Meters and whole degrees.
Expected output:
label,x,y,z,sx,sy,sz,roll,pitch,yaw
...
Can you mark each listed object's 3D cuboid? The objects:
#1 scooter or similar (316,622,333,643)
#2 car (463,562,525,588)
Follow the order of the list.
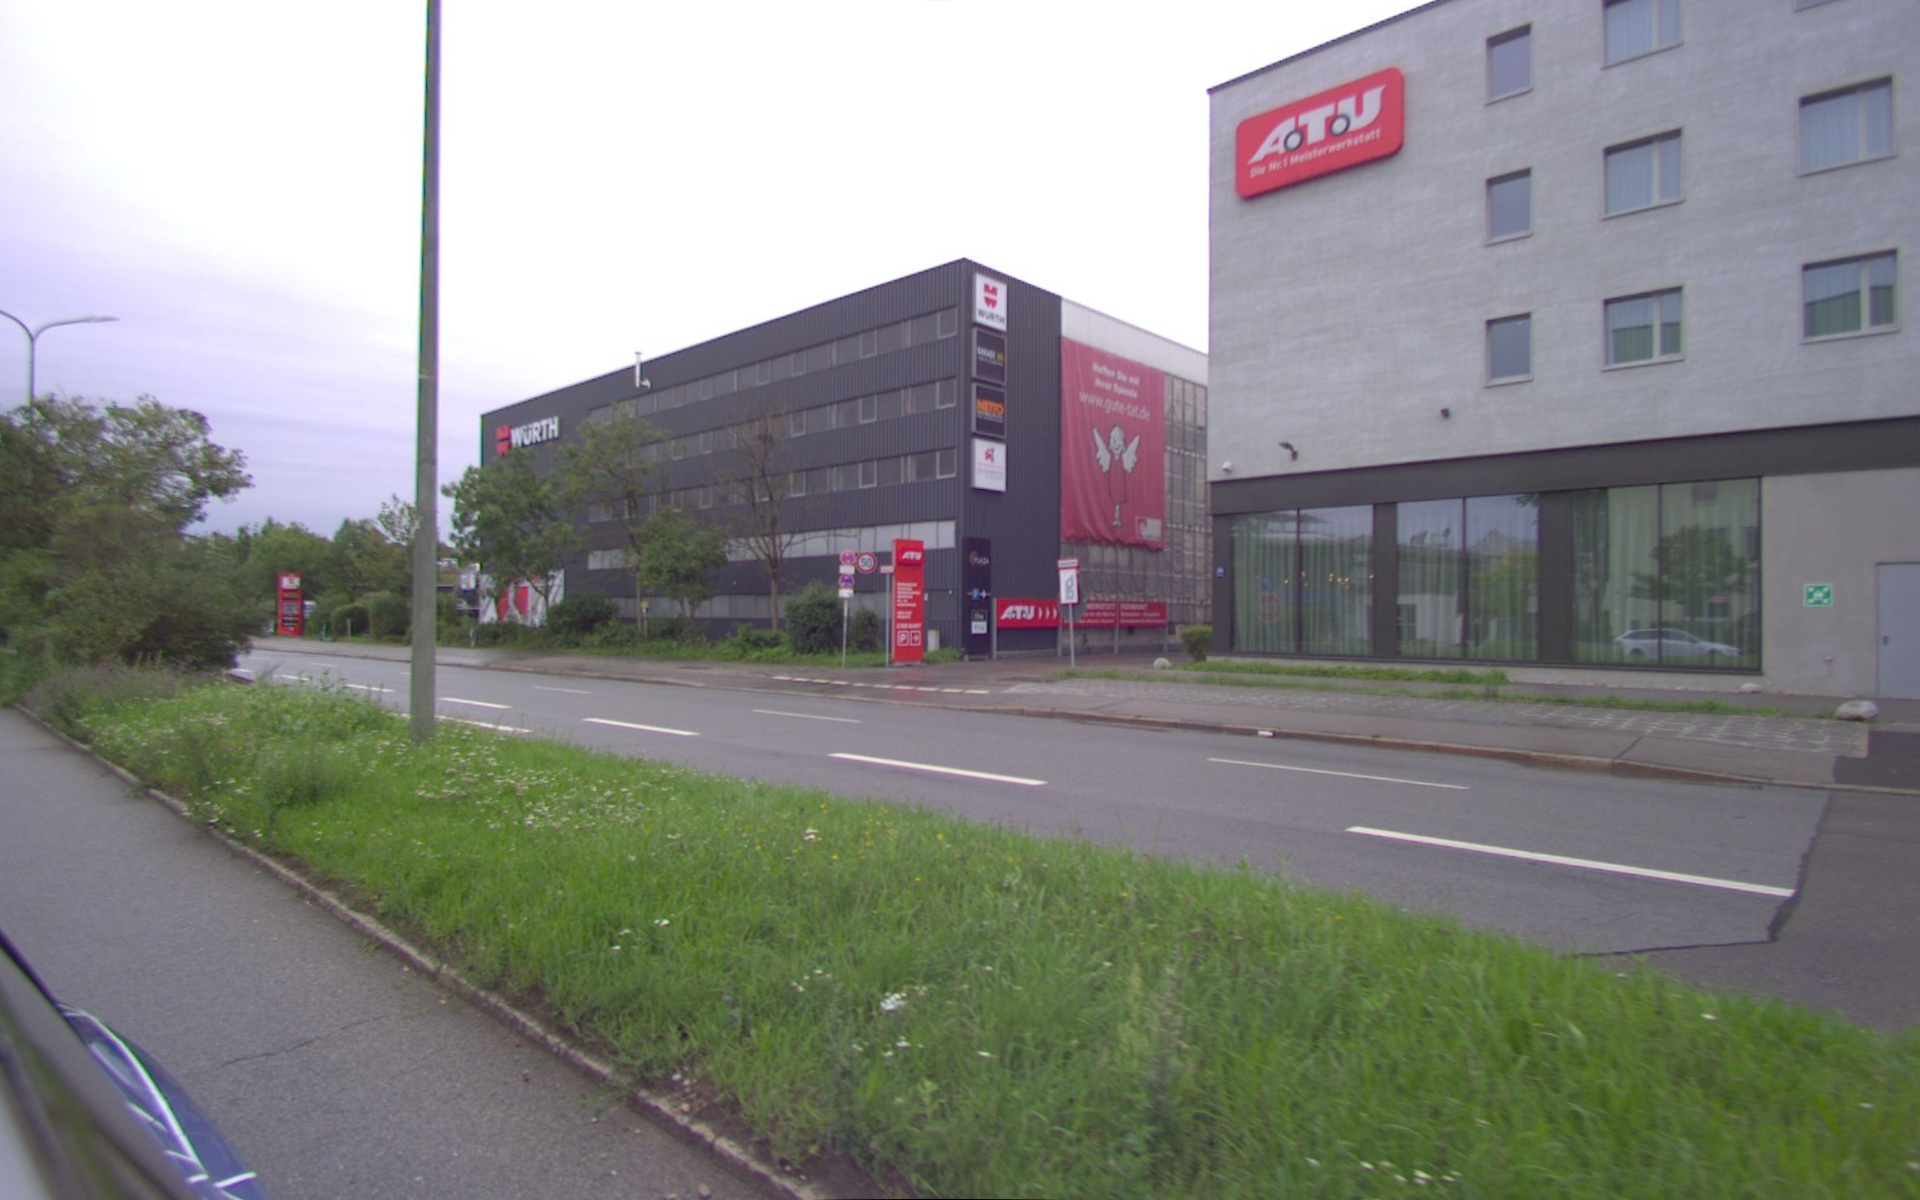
label,x,y,z,sx,sy,sz,roll,pitch,yaw
scooter or similar,-37.839,1.949,60.239,1.386,1.236,0.441,-1,-1,41
car,-43.023,-2.324,93.510,2.135,2.029,4.730,3,-1,43
